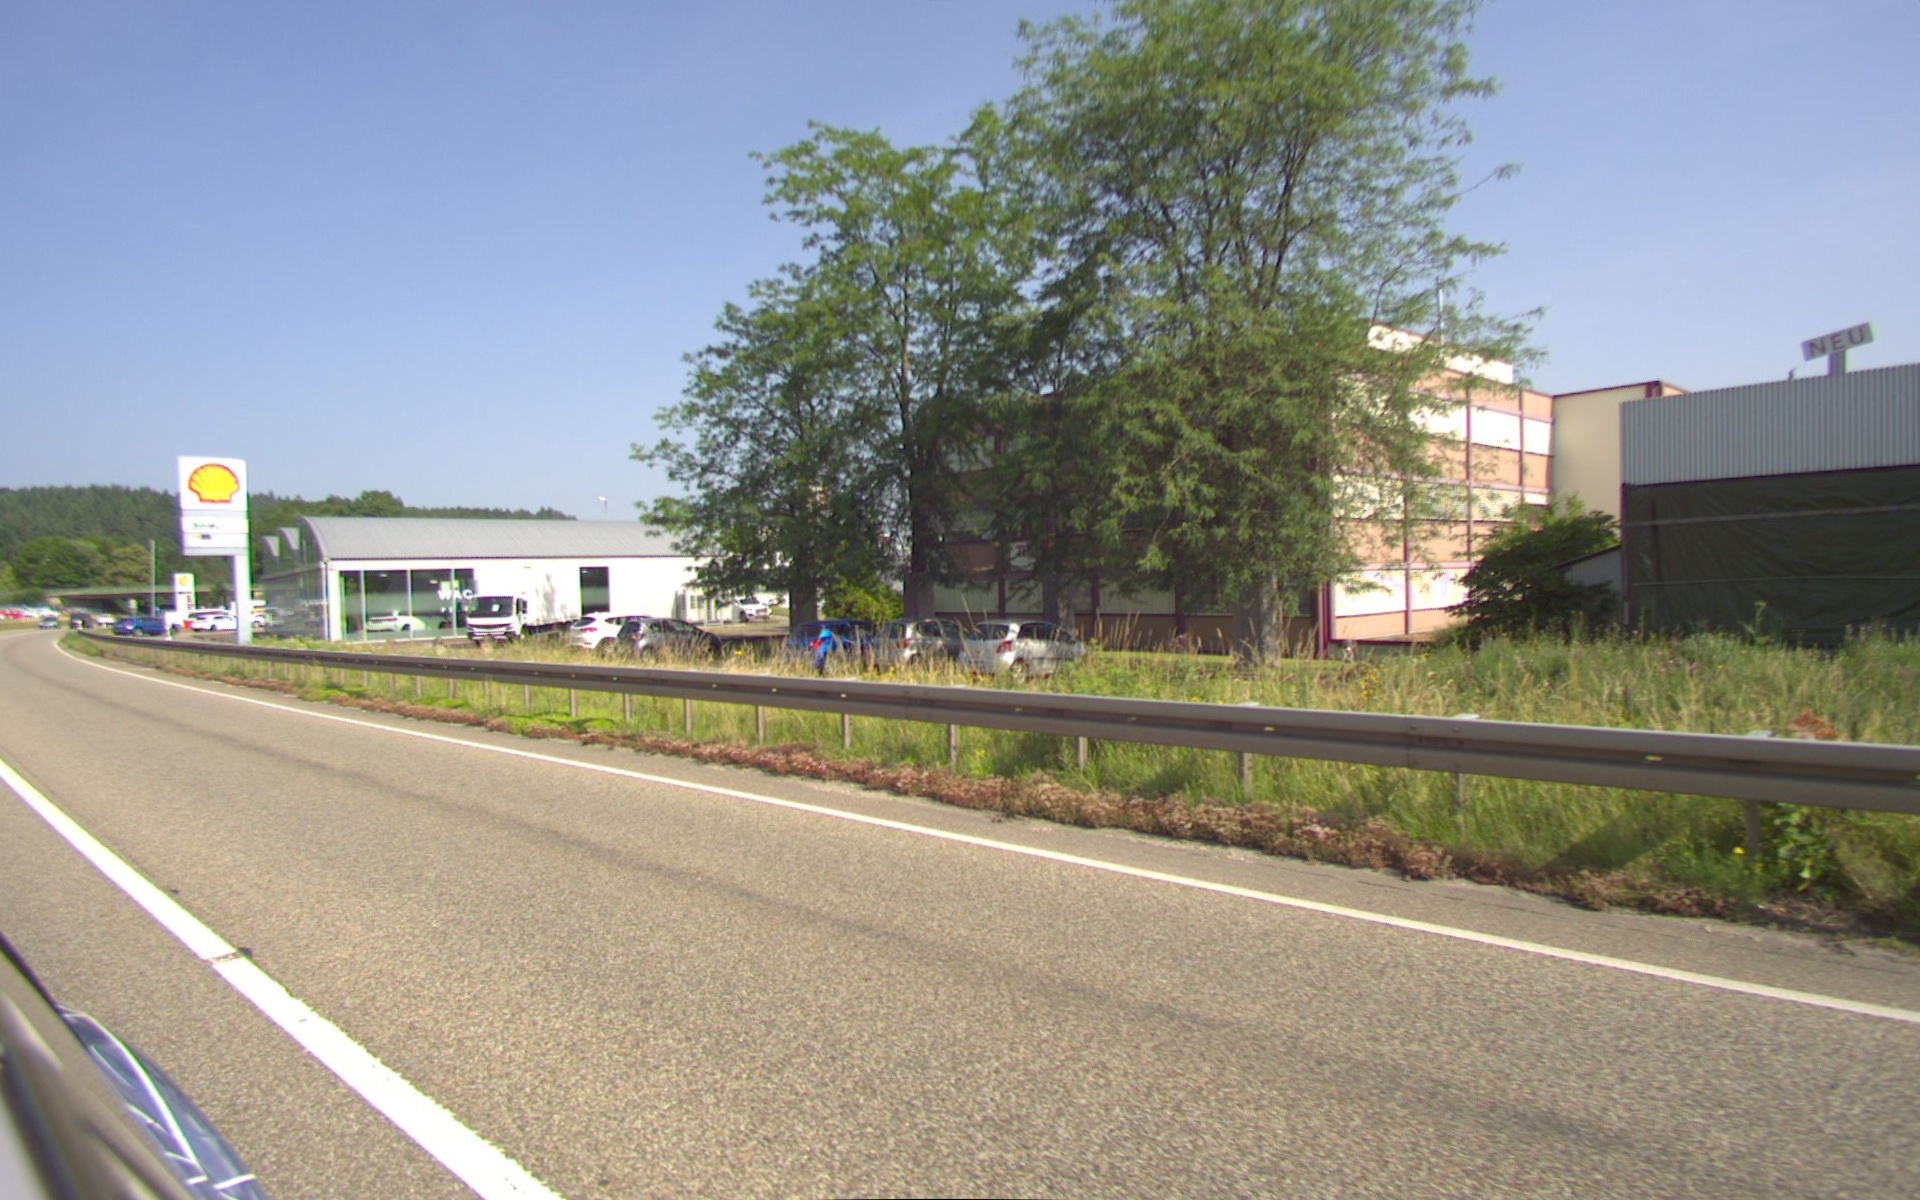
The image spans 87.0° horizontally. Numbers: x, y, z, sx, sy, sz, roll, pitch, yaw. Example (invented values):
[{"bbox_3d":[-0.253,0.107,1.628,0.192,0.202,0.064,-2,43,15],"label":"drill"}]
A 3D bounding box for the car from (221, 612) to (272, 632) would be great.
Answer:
[{"bbox_3d":[-78.264,2.367,111.003,4.390,1.853,1.990,-4,2,-41],"label":"car"}]

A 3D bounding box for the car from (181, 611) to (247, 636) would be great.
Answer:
[{"bbox_3d":[-69.113,2.181,93.760,4.733,1.996,2.232,-4,1,-41],"label":"car"}]

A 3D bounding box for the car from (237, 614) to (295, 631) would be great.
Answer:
[{"bbox_3d":[-67.551,2.187,98.502,4.410,1.409,1.969,-3,1,-41],"label":"car"}]

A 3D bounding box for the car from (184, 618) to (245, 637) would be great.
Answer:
[{"bbox_3d":[-65.799,2.414,89.440,1.877,1.413,4.218,-1,1,10],"label":"car"}]

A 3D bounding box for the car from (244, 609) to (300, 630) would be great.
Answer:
[{"bbox_3d":[-68.557,1.955,100.881,4.327,1.821,2.004,-4,2,-41],"label":"car"}]

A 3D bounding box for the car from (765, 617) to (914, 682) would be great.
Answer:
[{"bbox_3d":[-3.292,1.305,28.082,1.932,1.511,3.707,-1,1,42],"label":"car"}]

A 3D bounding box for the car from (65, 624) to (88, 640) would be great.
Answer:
[{"bbox_3d":[-107.229,3.870,122.841,1.890,1.899,4.919,1,-1,-40],"label":"car"}]

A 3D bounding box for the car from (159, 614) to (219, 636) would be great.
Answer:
[{"bbox_3d":[-77.101,2.494,101.286,4.613,1.871,2.147,-3,1,-41],"label":"car"}]

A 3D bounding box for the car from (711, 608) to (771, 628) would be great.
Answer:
[{"bbox_3d":[-13.611,1.114,62.776,4.001,1.209,1.703,-1,0,44],"label":"car"}]

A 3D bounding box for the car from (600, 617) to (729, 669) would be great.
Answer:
[{"bbox_3d":[-9.875,1.391,33.996,1.931,1.511,3.709,-1,1,40],"label":"car"}]

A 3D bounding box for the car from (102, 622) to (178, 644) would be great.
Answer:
[{"bbox_3d":[-62.079,2.473,76.719,1.963,1.518,4.219,-1,0,10],"label":"car"}]

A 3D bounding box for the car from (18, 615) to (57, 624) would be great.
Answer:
[{"bbox_3d":[-151.539,3.227,166.299,4.498,1.475,1.882,0,0,-33],"label":"car"}]

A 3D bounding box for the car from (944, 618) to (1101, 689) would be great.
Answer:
[{"bbox_3d":[1.556,1.209,24.238,1.861,1.471,3.707,-1,0,42],"label":"car"}]

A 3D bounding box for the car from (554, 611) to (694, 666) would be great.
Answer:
[{"bbox_3d":[-11.850,1.312,35.875,1.931,1.667,4.306,-1,1,40],"label":"car"}]

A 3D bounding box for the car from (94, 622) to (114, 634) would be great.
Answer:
[{"bbox_3d":[-121.124,3.909,143.214,1.768,1.642,4.236,0,-1,-36],"label":"car"}]

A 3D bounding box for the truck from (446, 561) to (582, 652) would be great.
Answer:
[{"bbox_3d":[-19.540,0.235,45.012,2.765,3.583,8.219,-2,1,-4],"label":"truck"}]

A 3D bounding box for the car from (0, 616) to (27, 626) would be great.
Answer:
[{"bbox_3d":[-145.423,3.205,154.976,3.489,1.475,1.810,0,0,-33],"label":"car"}]

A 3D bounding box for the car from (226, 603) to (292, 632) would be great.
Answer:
[{"bbox_3d":[-75.523,1.821,109.062,5.649,2.765,2.290,-4,2,-39],"label":"car"}]

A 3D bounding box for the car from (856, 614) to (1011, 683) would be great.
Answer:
[{"bbox_3d":[-0.661,1.205,26.592,3.701,1.511,1.861,-2,1,-41],"label":"car"}]
